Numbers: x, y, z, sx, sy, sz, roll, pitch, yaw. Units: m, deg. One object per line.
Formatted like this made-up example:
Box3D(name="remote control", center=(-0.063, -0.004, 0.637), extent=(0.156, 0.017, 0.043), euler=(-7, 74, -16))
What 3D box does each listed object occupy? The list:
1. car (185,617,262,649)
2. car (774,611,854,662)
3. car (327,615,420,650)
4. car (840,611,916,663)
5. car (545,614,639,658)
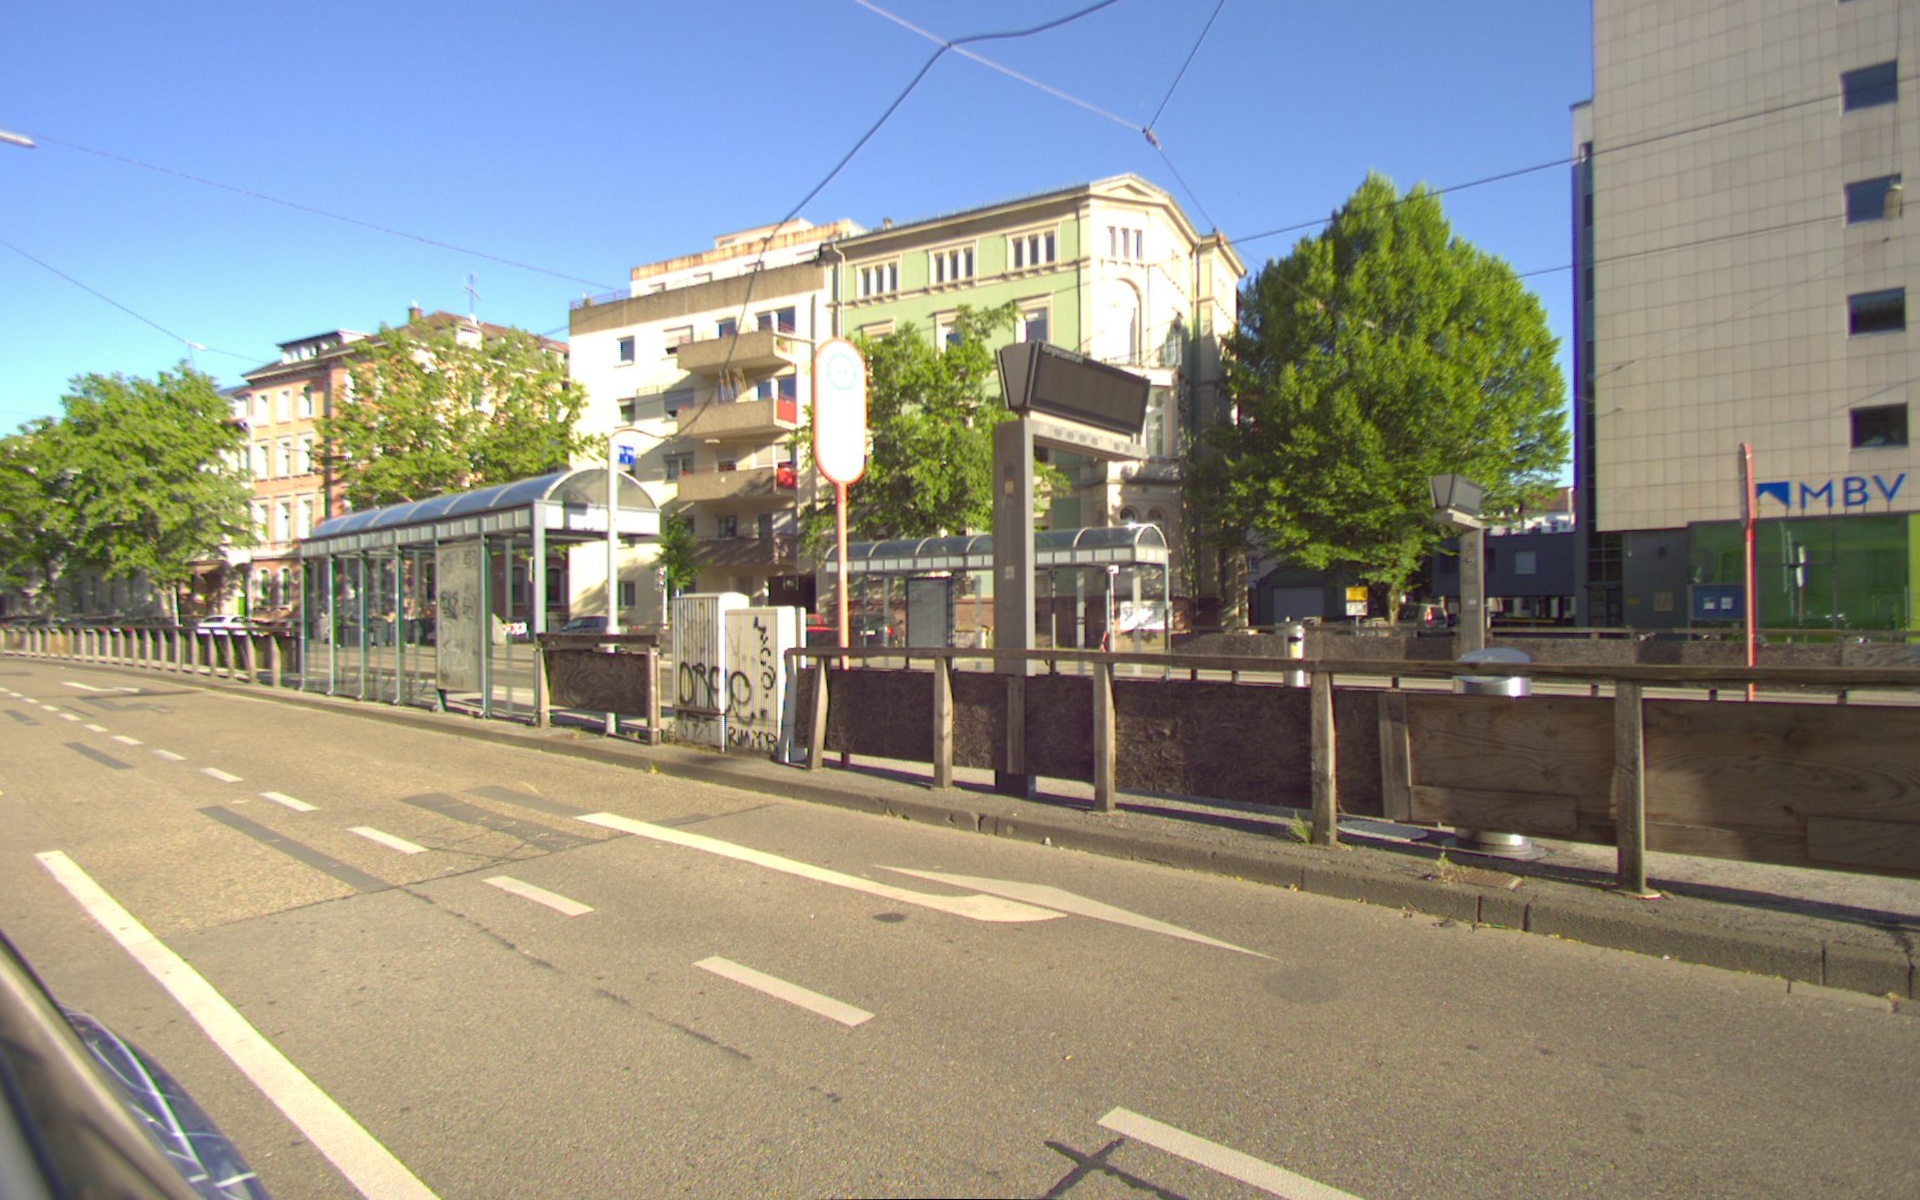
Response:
Box3D(name="car", center=(-39.400, 1.730, 54.218), extent=(1.607, 1.579, 3.601), euler=(-1, 0, -2))
Box3D(name="car", center=(-4.923, 1.209, 34.569), extent=(1.614, 1.579, 3.588), euler=(-1, 0, 11))
Box3D(name="car", center=(-28.400, 1.551, 49.059), extent=(1.626, 1.579, 3.560), euler=(-1, 0, 33))
Box3D(name="car", center=(-2.651, 1.180, 33.372), extent=(1.614, 1.579, 3.588), euler=(-1, 0, 11))
Box3D(name="car", center=(-14.035, 1.326, 38.522), extent=(3.592, 1.579, 1.612), euler=(-1, 0, 35))
